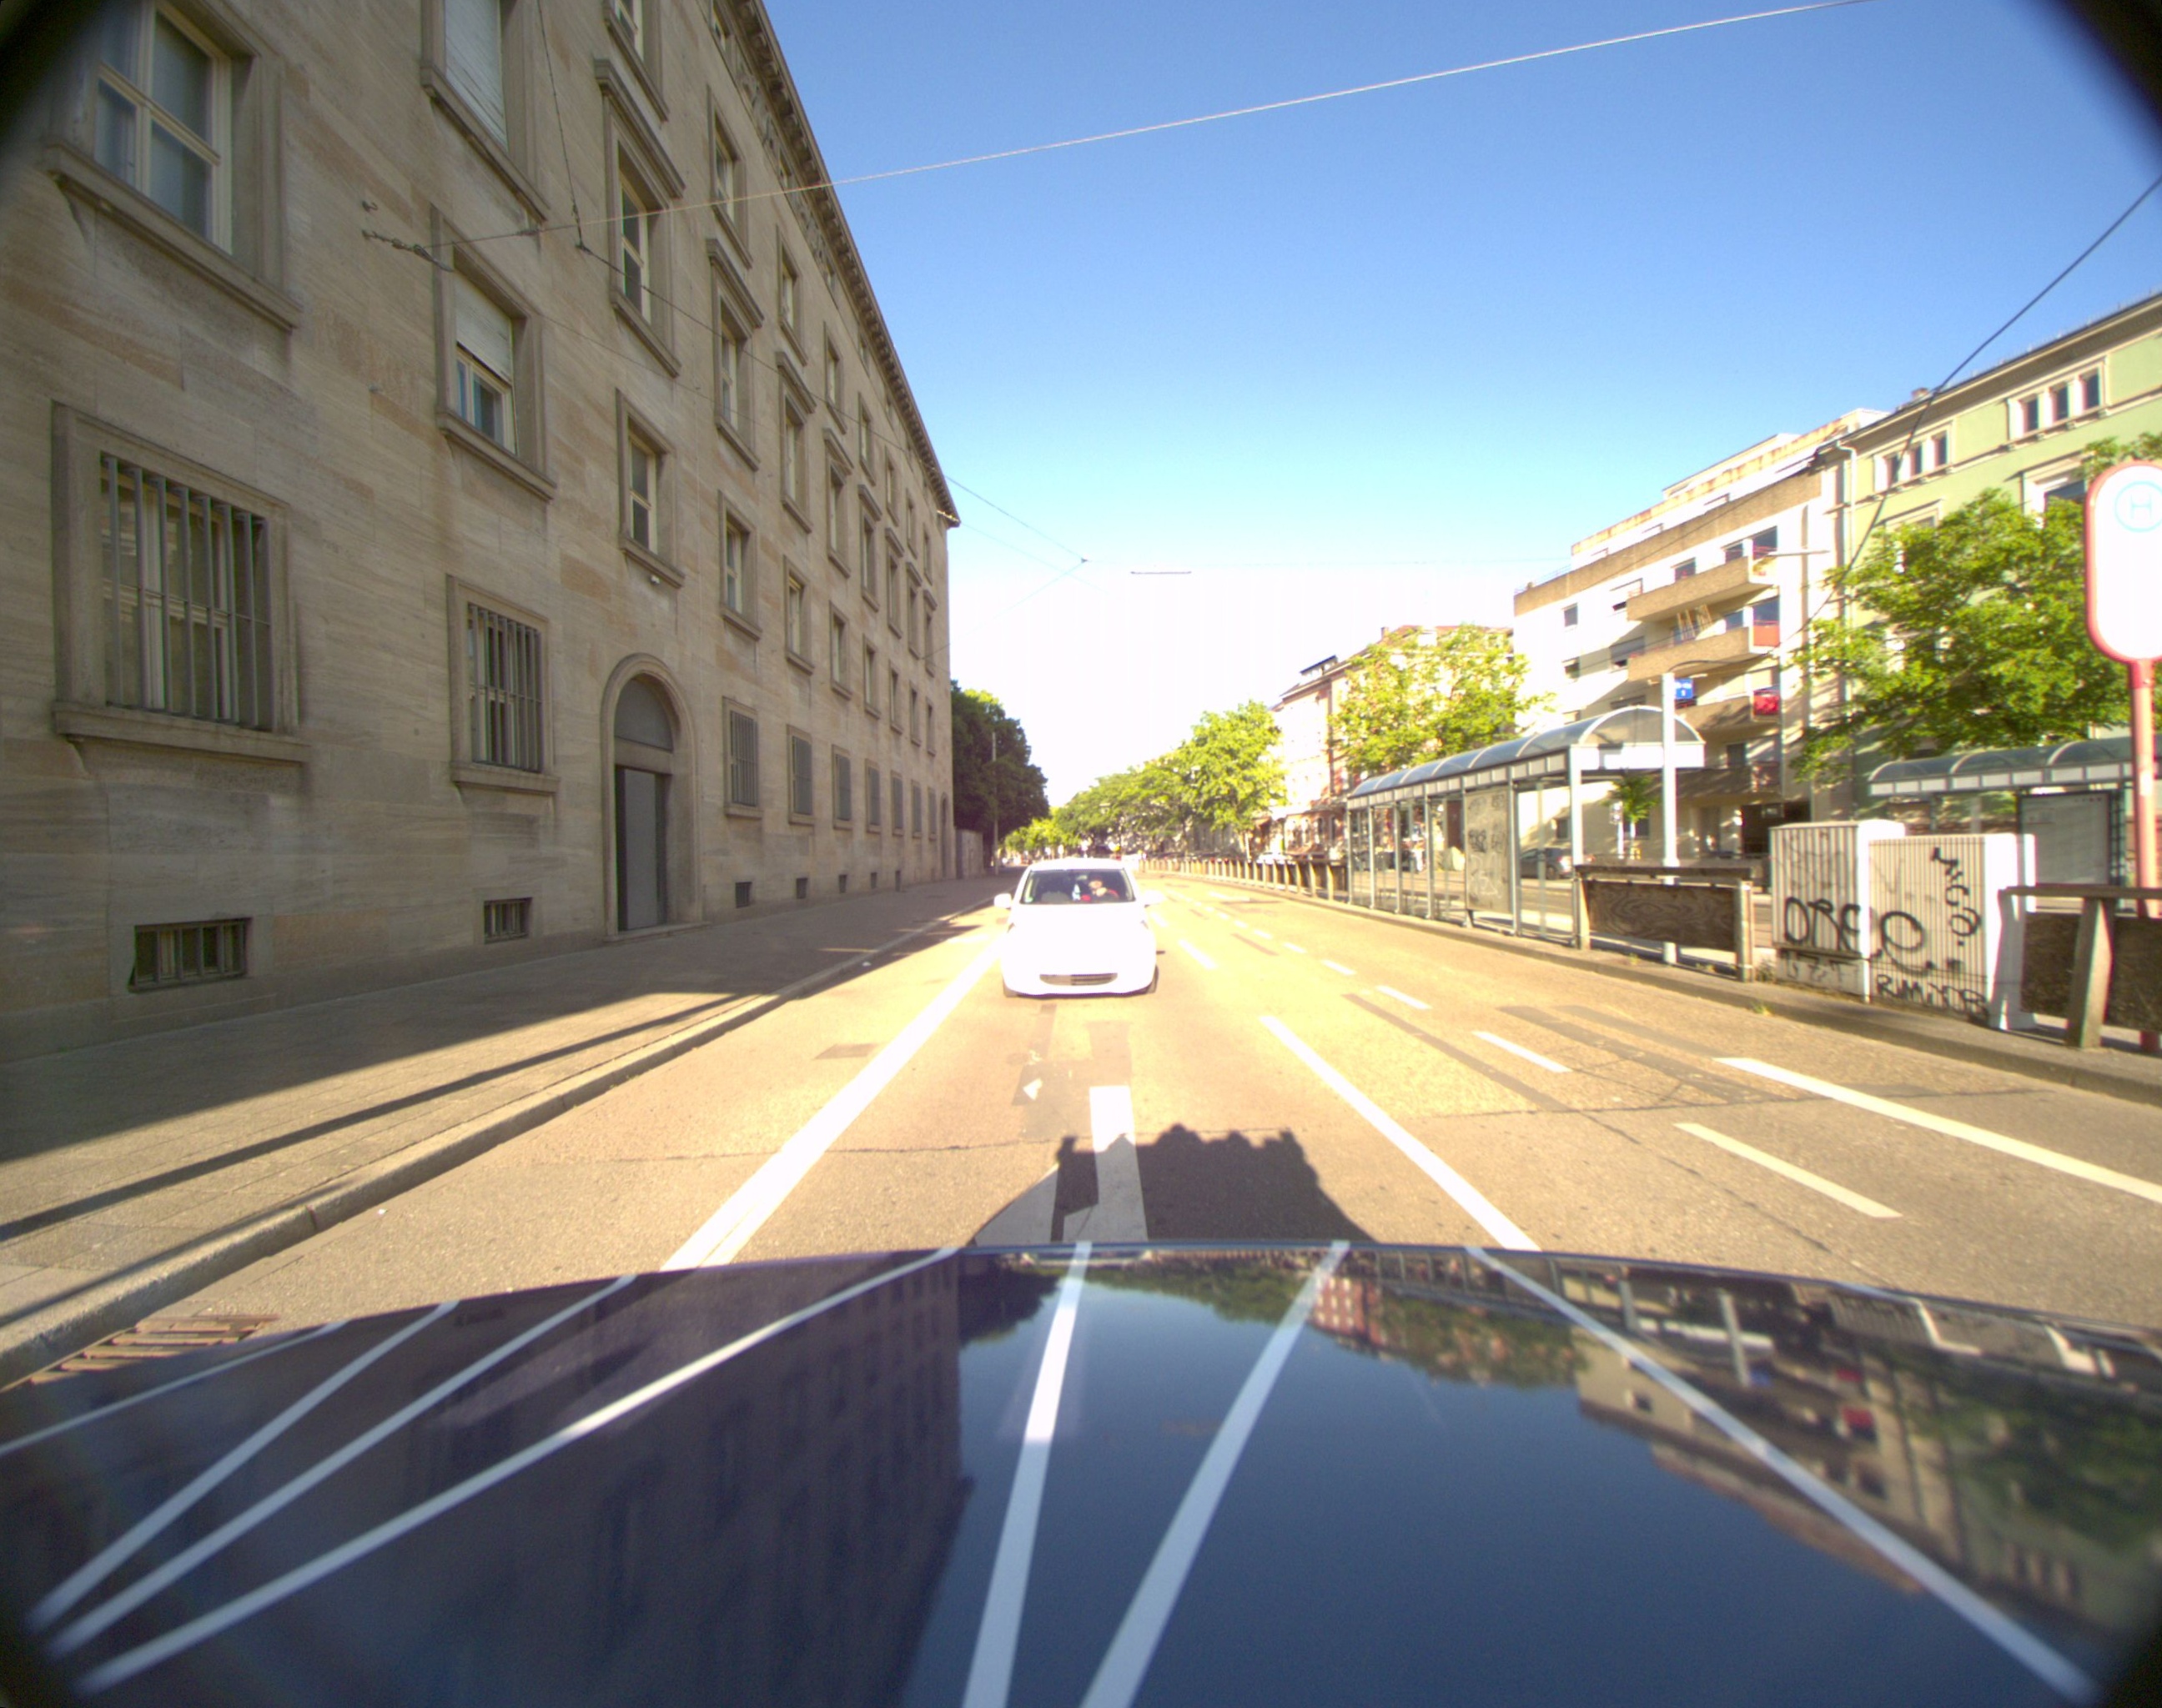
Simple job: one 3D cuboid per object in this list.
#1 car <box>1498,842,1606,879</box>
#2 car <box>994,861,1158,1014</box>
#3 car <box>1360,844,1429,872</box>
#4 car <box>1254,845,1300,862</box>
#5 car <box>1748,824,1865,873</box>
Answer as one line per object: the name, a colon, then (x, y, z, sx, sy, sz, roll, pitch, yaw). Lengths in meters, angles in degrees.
car: (21.036, 0.282, 34.136, 2.000, 1.521, 3.997, -1, 0, -8)
car: (-0.029, 0.855, 9.417, 1.606, 1.455, 3.621, -1, 0, 1)
car: (18.446, 0.215, 44.936, 2.000, 1.521, 3.997, -1, 0, -8)
car: (16.287, -0.046, 63.143, 3.648, 1.342, 1.578, -2, 1, -29)
car: (31.571, -0.244, 33.086, 4.001, 2.002, 1.798, -1, 1, -13)
